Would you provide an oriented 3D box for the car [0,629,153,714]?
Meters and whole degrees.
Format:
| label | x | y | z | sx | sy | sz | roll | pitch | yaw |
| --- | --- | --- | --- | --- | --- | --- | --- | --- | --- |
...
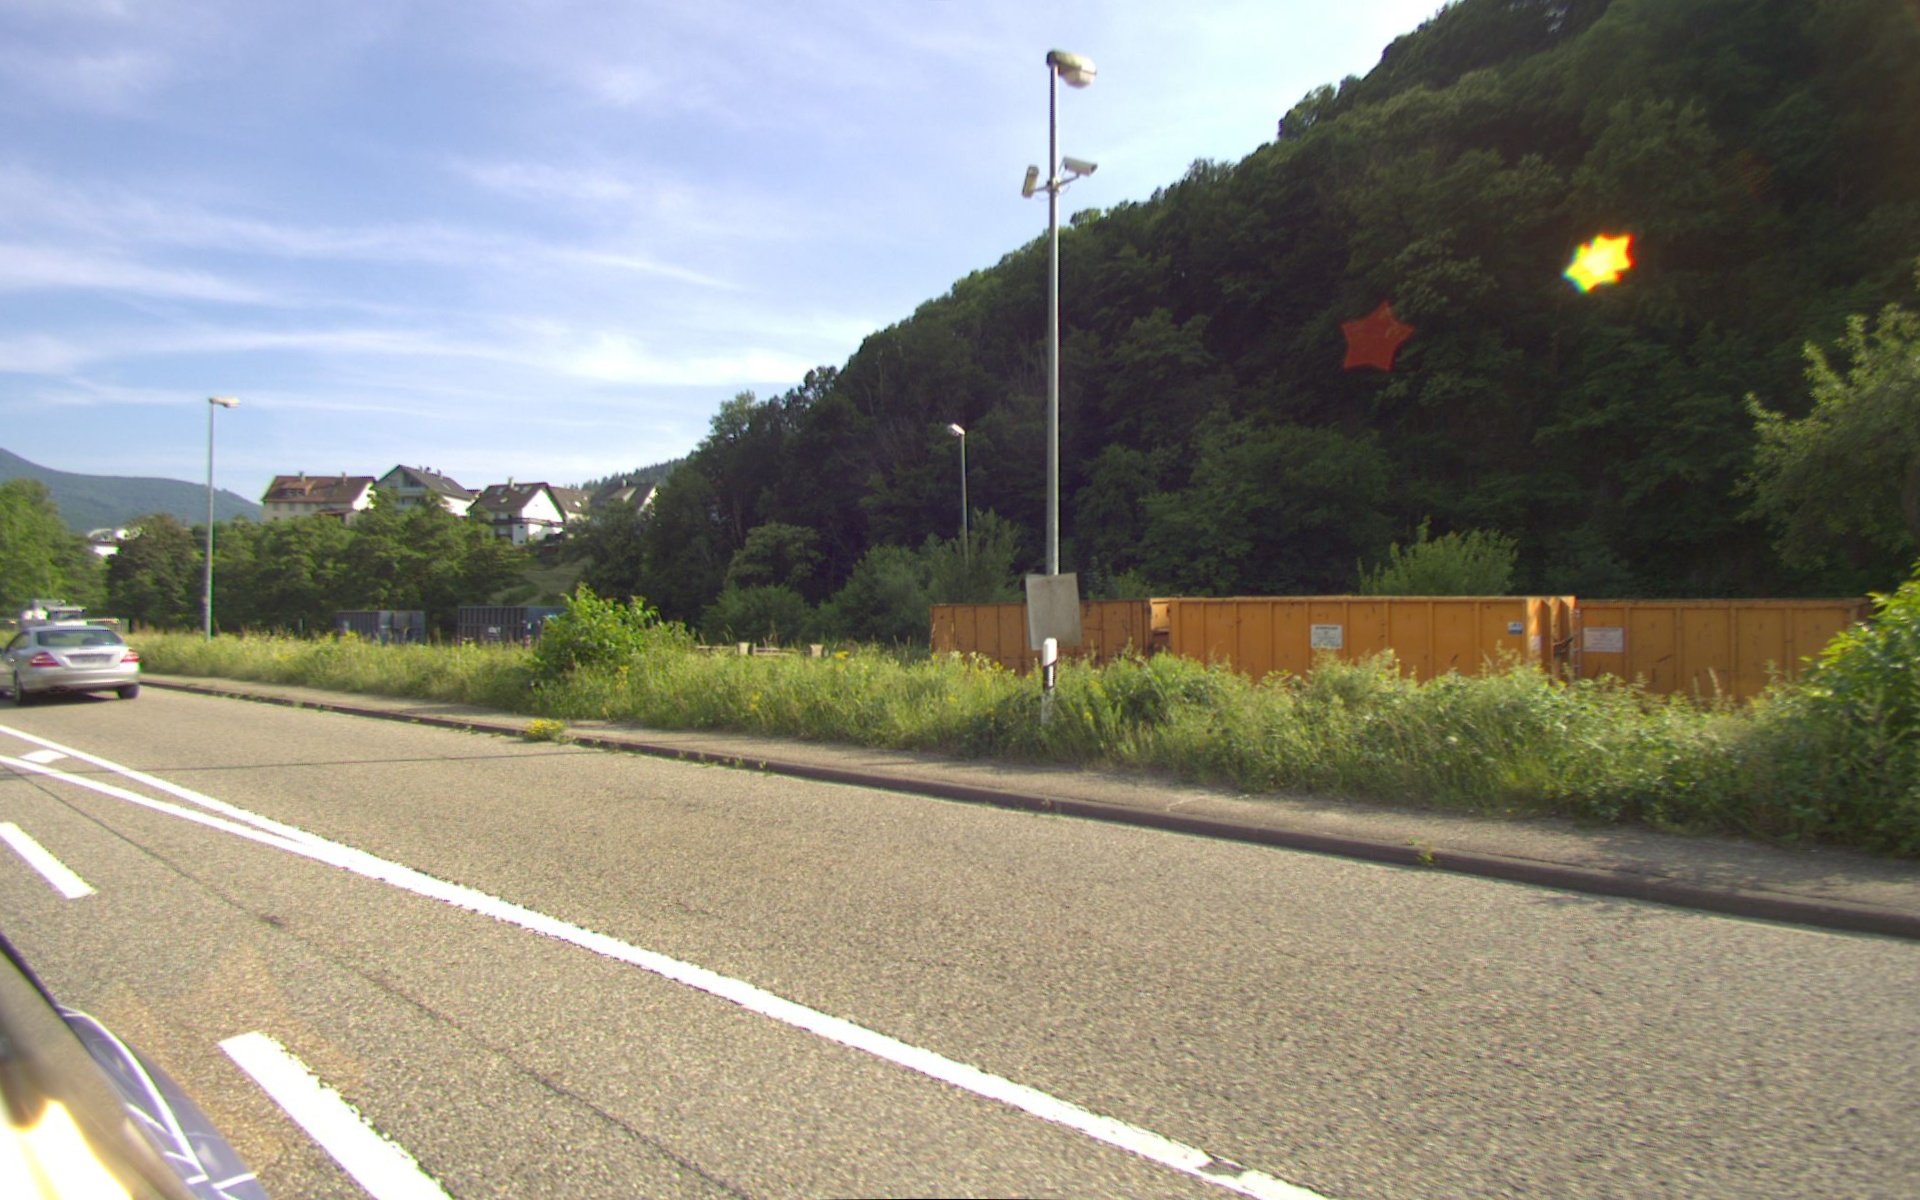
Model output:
| label | x | y | z | sx | sy | sz | roll | pitch | yaw |
| --- | --- | --- | --- | --- | --- | --- | --- | --- | --- |
| car | -16.909 | 1.256 | 18.978 | 4.504 | 1.358 | 1.761 | -1 | 0 | 38 |

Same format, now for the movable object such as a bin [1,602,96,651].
| label | x | y | z | sx | sy | sz | roll | pitch | yaw |
| --- | --- | --- | --- | --- | --- | --- | --- | --- | --- |
| movable object such as a bin | -78.068 | 2.248 | 86.640 | 7.759 | 3.977 | 2.884 | 0 | -3 | 23 |
